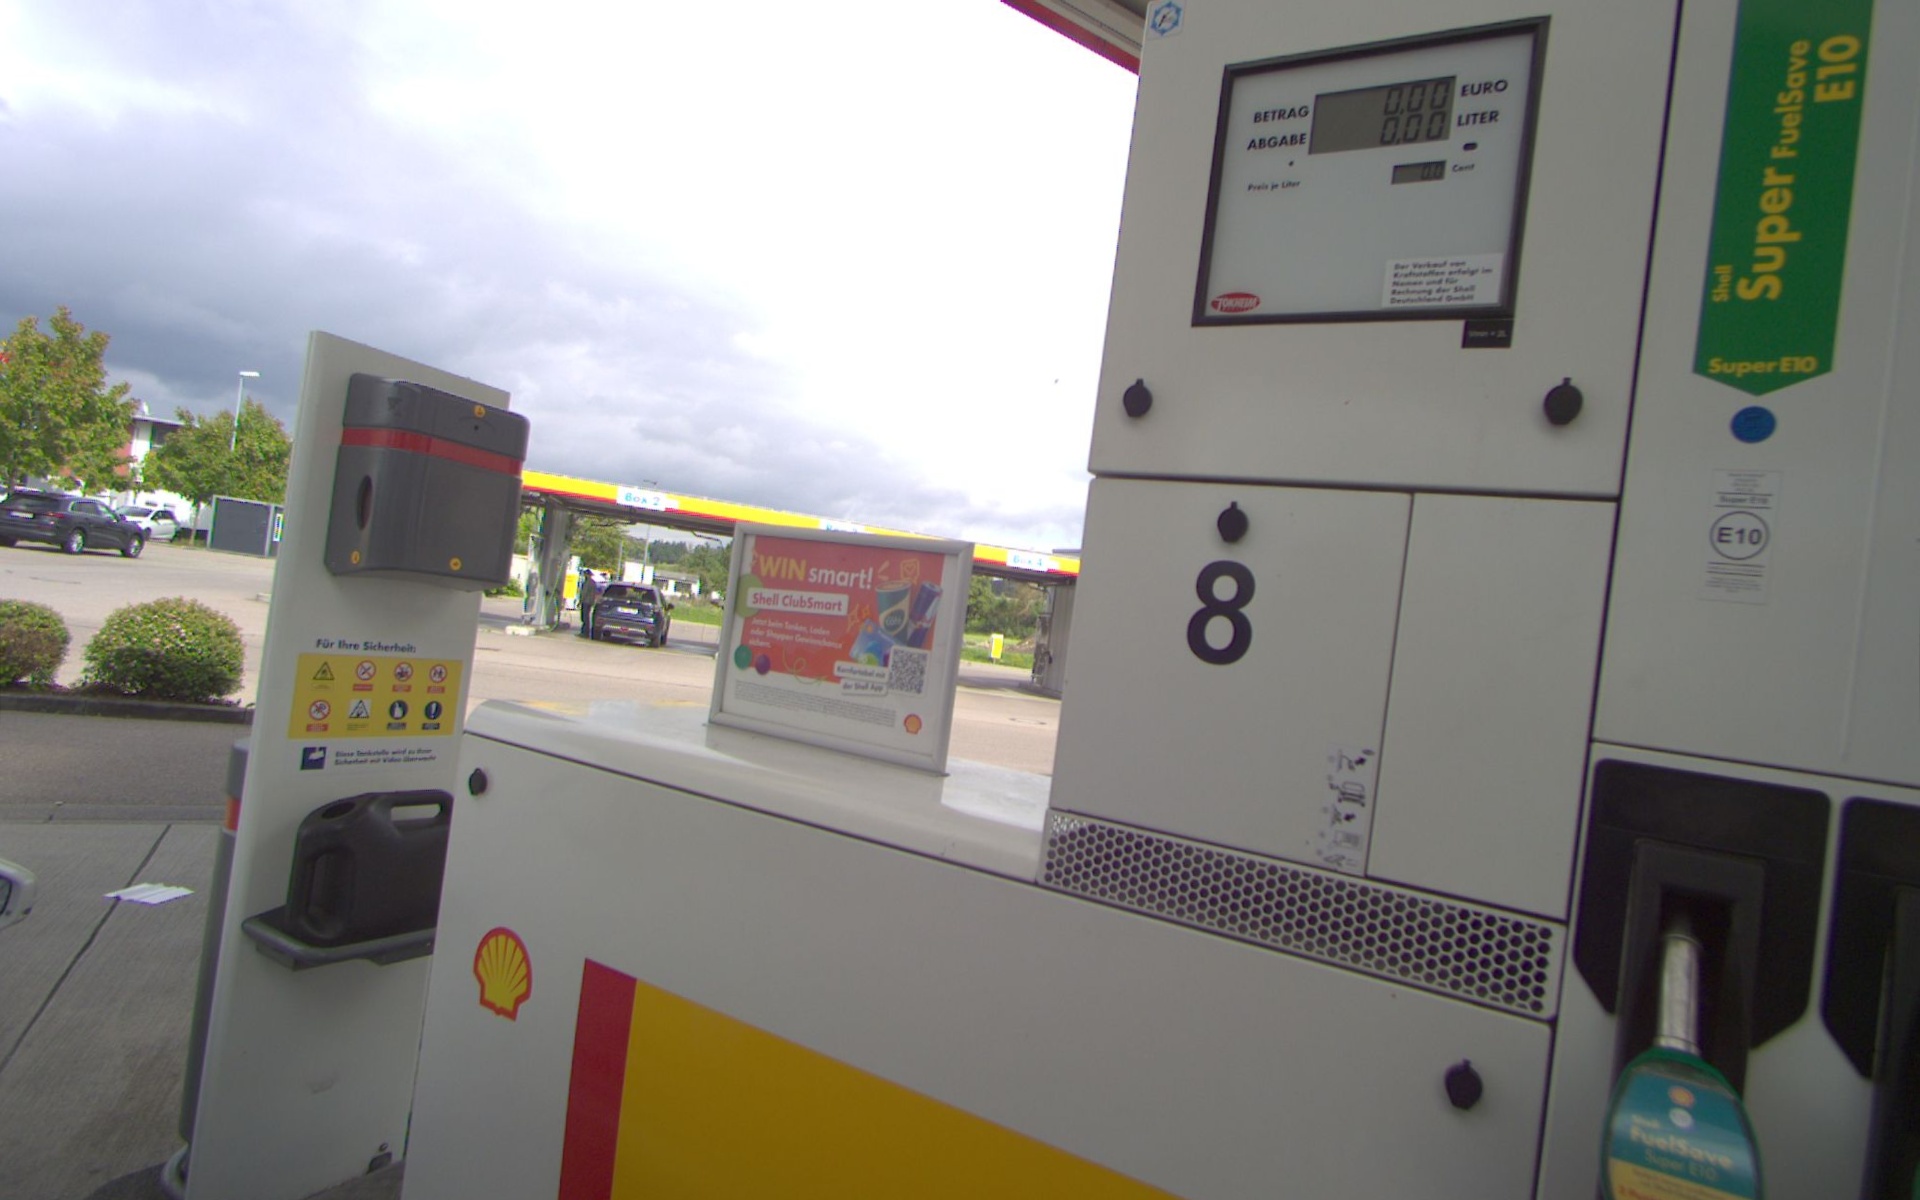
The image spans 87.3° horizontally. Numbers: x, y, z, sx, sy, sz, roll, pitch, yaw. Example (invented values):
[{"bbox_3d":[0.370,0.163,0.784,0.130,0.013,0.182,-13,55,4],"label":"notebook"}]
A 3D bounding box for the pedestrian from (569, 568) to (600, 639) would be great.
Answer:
[{"bbox_3d":[-9.727,0.090,26.063,0.550,1.742,0.526,7,-1,-21],"label":"pedestrian"}]

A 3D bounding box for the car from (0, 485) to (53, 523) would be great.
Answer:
[{"bbox_3d":[-57.358,-5.910,60.248,2.149,1.854,4.870,8,-2,-11],"label":"car"}]

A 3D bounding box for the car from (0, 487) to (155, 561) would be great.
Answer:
[{"bbox_3d":[-25.929,-2.172,29.266,1.855,1.566,4.498,8,-2,-10],"label":"car"}]

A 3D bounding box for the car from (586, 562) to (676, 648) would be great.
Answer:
[{"bbox_3d":[-8.697,0.146,26.866,1.696,1.919,3.800,8,-2,-12],"label":"car"}]

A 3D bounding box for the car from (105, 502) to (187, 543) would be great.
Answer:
[{"bbox_3d":[-35.258,-3.346,43.651,1.346,1.322,3.098,8,-2,-12],"label":"car"}]

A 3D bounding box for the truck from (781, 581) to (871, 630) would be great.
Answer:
[{"bbox_3d":[-13.011,0.544,97.511,7.978,3.575,2.687,8,-2,-19],"label":"truck"}]
